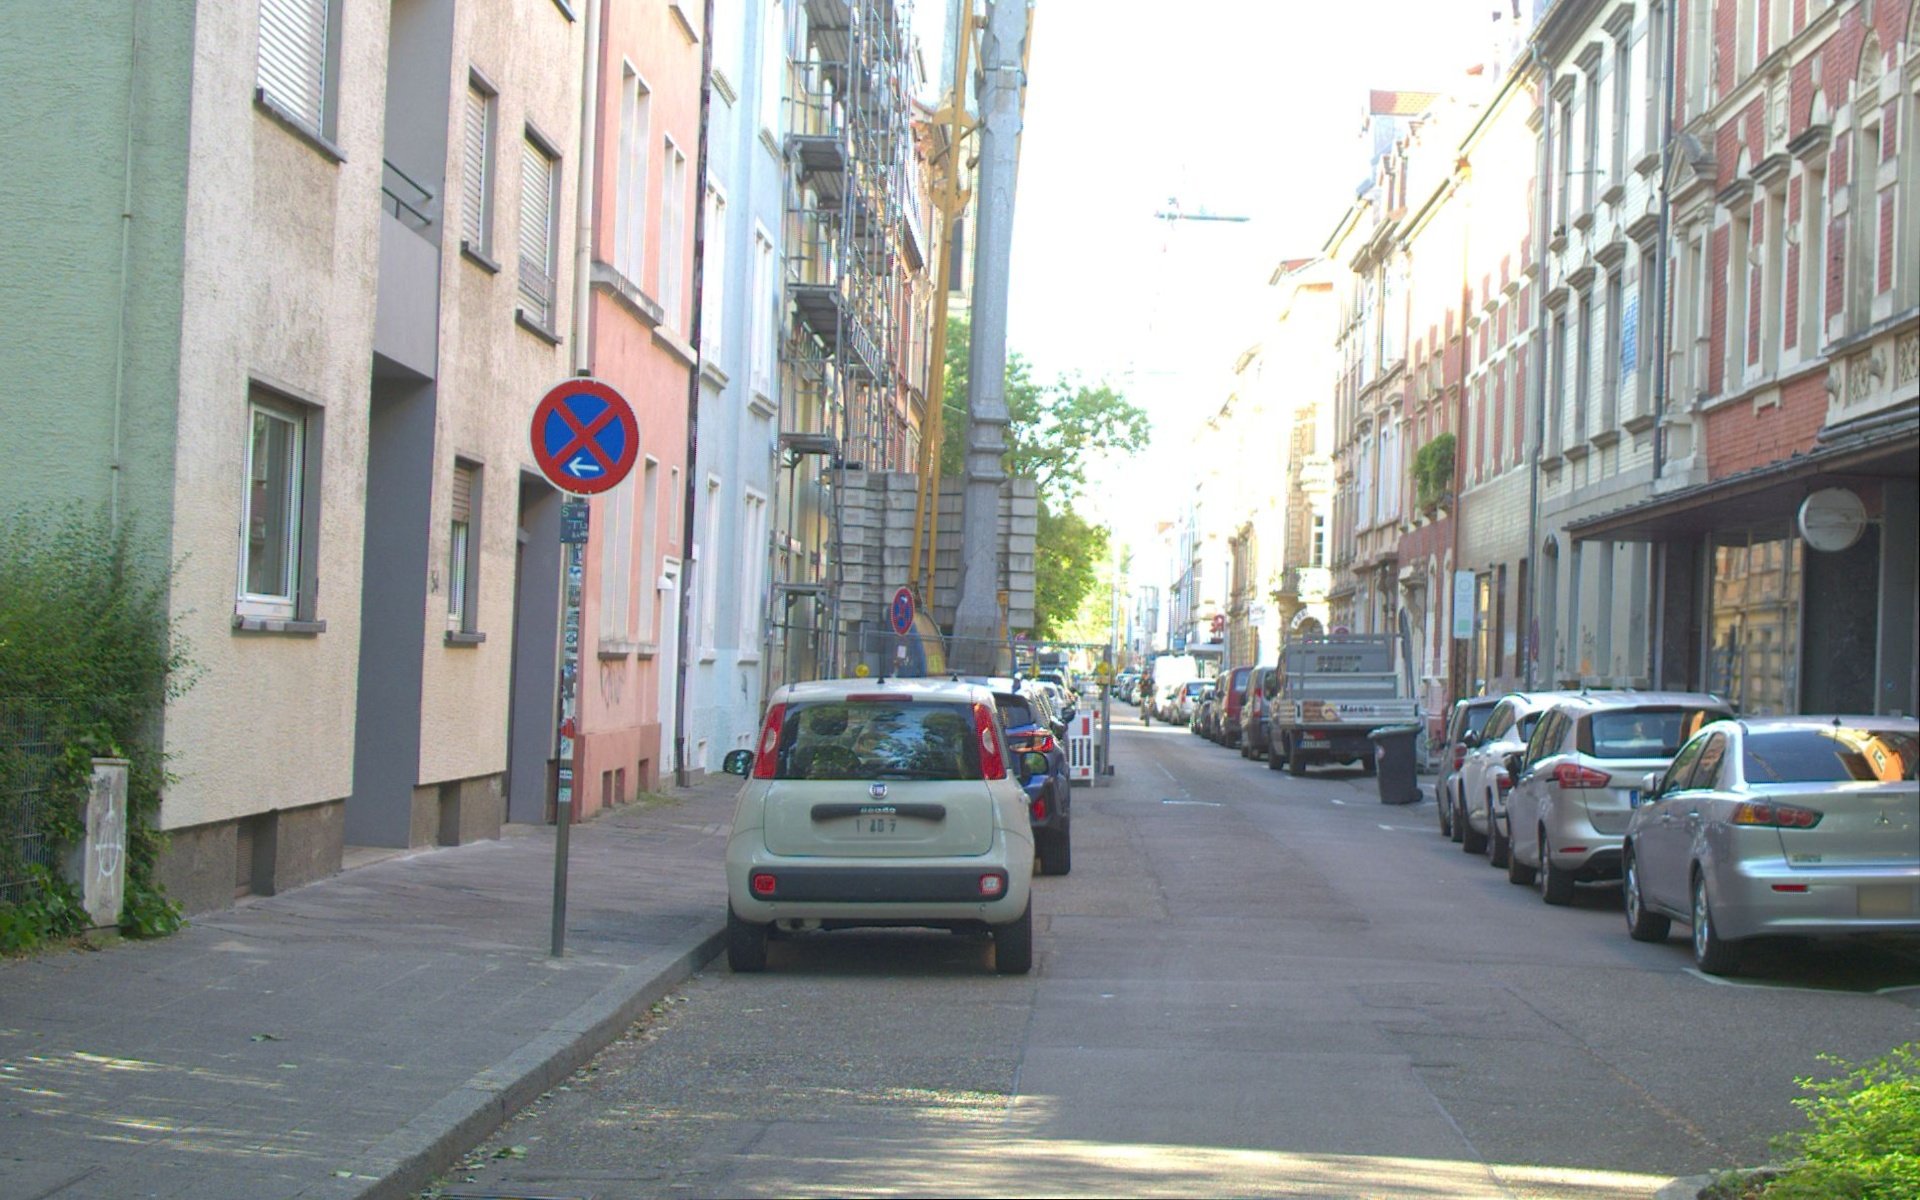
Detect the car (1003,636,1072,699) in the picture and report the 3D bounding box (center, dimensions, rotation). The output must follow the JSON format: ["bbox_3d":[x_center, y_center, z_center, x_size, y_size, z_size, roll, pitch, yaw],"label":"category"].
[{"bbox_3d":[2.040,1.805,91.344,1.675,1.566,3.869,2,-1,0],"label":"car"}]

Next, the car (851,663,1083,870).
[{"bbox_3d":[0.039,1.309,28.226,1.729,1.534,4.377,1,-1,0],"label":"car"}]

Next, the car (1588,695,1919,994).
[{"bbox_3d":[5.091,1.408,20.945,1.721,1.557,4.398,3,-1,1],"label":"car"}]

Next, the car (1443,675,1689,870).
[{"bbox_3d":[5.709,1.592,32.823,1.746,1.670,4.340,2,-1,3],"label":"car"}]

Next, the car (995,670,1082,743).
[{"bbox_3d":[1.623,2.227,72.343,1.675,1.440,3.869,2,-1,0],"label":"car"}]

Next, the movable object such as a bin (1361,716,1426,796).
[{"bbox_3d":[6.015,2.164,47.728,0.795,1.052,0.660,2,-1,2],"label":"movable object such as a bin"}]

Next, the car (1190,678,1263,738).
[{"bbox_3d":[7.442,3.013,96.437,1.675,1.566,3.869,2,-1,0],"label":"car"}]

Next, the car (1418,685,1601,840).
[{"bbox_3d":[6.016,1.745,37.962,1.597,1.555,3.813,2,-1,4],"label":"car"}]

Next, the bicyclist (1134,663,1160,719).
[{"bbox_3d":[5.953,2.892,109.384,0.730,1.755,0.835,3,0,2],"label":"bicyclist"}]

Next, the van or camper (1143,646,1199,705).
[{"bbox_3d":[9.153,3.272,149.468,1.993,2.500,4.202,1,-1,-2],"label":"van or camper"}]

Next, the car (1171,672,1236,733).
[{"bbox_3d":[8.537,3.596,120.964,1.993,2.007,4.000,2,-1,1],"label":"car"}]

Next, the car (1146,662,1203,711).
[{"bbox_3d":[8.406,3.360,134.822,1.993,1.842,4.000,1,-1,1],"label":"car"}]

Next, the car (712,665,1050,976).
[{"bbox_3d":[-0.411,1.165,19.411,1.675,1.534,3.869,1,-1,0],"label":"car"}]

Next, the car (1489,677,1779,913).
[{"bbox_3d":[5.236,1.476,27.114,1.640,1.650,3.868,3,-1,3],"label":"car"}]

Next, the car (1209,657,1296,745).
[{"bbox_3d":[7.041,2.425,82.970,1.675,2.024,3.869,2,-1,0],"label":"car"}]

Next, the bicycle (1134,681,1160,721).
[{"bbox_3d":[5.932,3.209,109.324,0.724,1.182,2.042,3,0,2],"label":"bicycle"}]

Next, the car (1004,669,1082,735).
[{"bbox_3d":[1.943,2.395,81.150,1.675,1.440,3.869,2,-1,0],"label":"car"}]

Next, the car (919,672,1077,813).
[{"bbox_3d":[0.482,1.612,39.876,1.675,1.472,4.607,2,-1,2],"label":"car"}]

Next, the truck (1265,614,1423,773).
[{"bbox_3d":[6.639,1.603,59.986,2.190,2.598,5.233,1,-1,1],"label":"truck"}]

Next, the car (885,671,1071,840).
[{"bbox_3d":[0.230,1.494,34.155,1.675,1.507,4.414,2,-1,2],"label":"car"}]

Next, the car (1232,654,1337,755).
[{"bbox_3d":[6.620,2.124,70.487,1.675,1.956,4.109,2,-1,0],"label":"car"}]
